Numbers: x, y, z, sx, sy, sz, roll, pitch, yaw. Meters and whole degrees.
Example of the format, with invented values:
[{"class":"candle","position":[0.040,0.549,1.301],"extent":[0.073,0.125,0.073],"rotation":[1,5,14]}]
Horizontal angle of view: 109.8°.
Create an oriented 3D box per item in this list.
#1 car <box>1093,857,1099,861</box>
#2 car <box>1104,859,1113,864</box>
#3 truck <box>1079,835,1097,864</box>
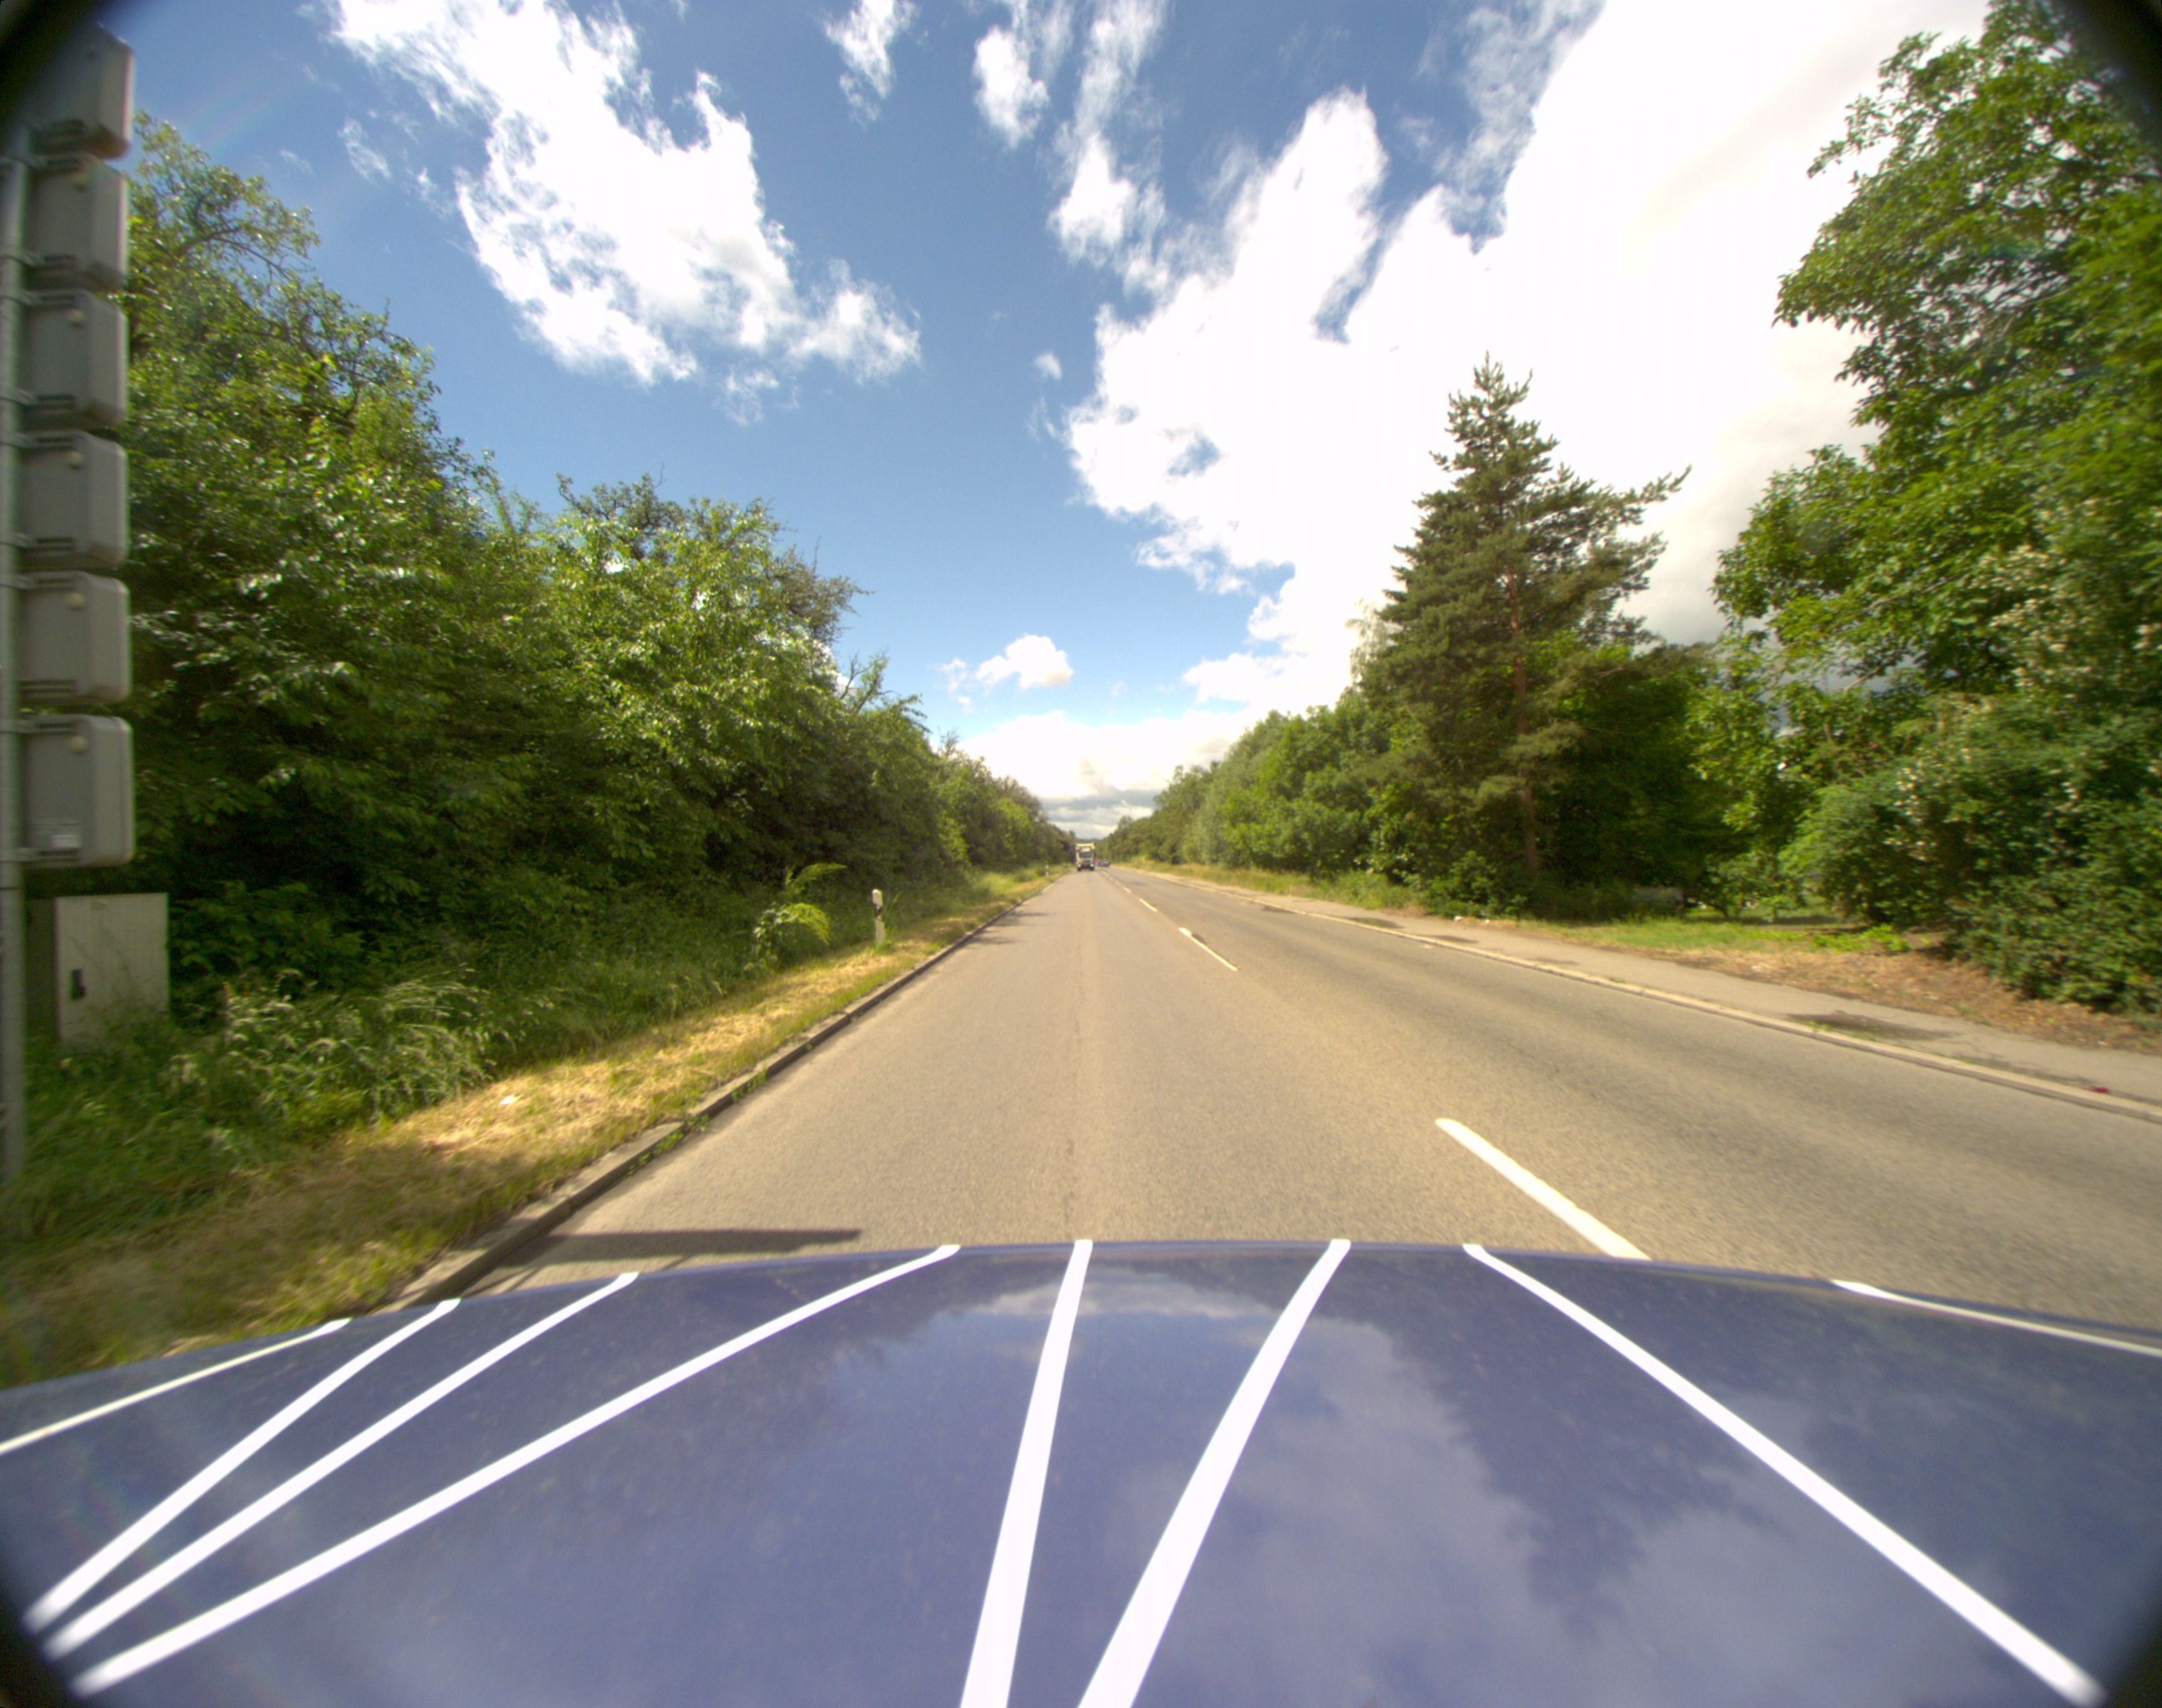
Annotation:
[{"class":"car","position":[5.259,1.722,261.865],"extent":[1.789,1.438,4.452],"rotation":[1,-1,-1]},{"class":"car","position":[6.393,1.754,176.788],"extent":[1.789,1.326,4.622],"rotation":[1,-1,-1]},{"class":"truck","position":[0.973,-0.557,108.437],"extent":[2.306,3.789,8.183],"rotation":[-2,-1,0]}]
